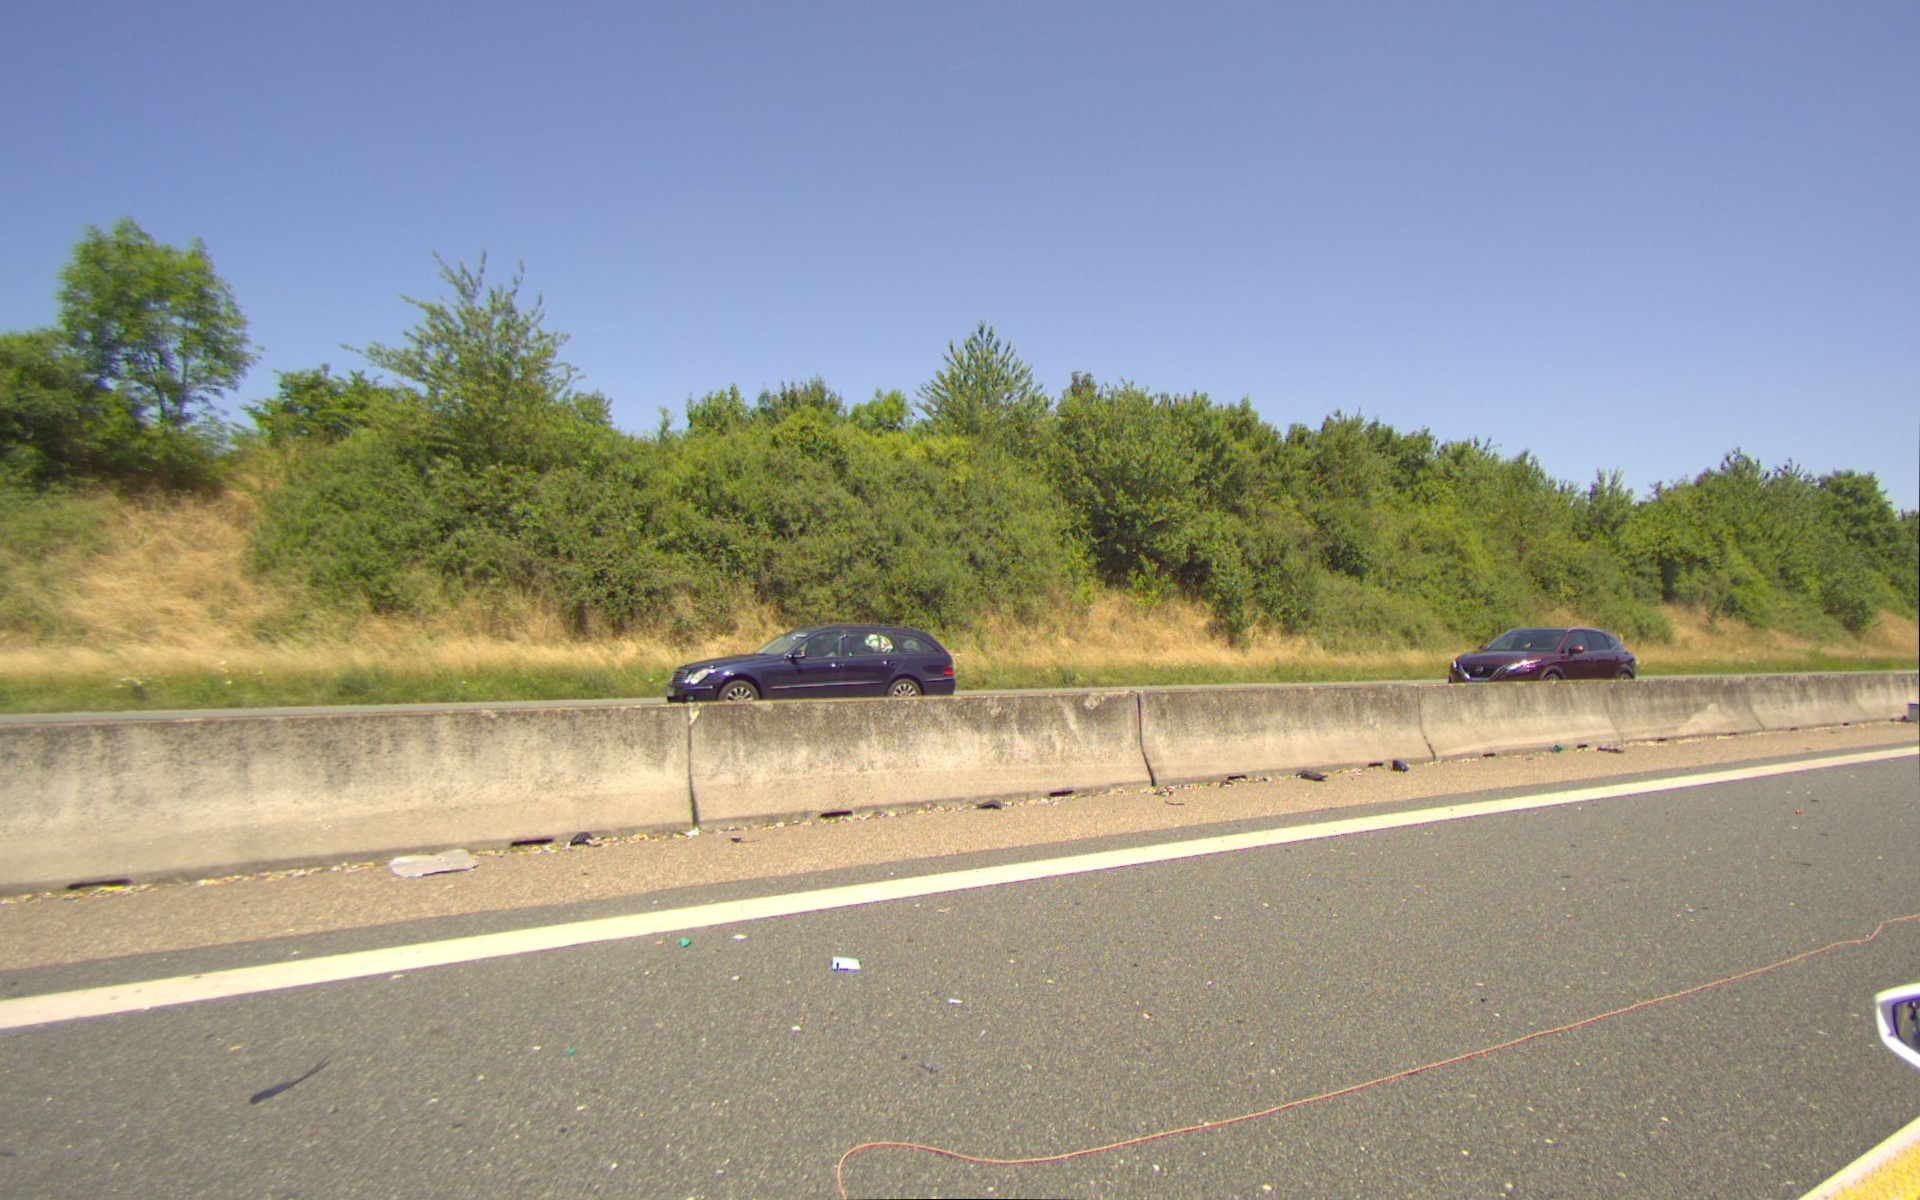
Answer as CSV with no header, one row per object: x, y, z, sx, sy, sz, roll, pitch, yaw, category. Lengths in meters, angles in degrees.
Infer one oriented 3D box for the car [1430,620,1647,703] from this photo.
11.481,1.177,19.862,4.438,1.480,1.839,2,-2,-31,car

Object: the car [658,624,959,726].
-2.452,1.161,16.622,4.534,1.480,1.983,2,-2,-31,car
